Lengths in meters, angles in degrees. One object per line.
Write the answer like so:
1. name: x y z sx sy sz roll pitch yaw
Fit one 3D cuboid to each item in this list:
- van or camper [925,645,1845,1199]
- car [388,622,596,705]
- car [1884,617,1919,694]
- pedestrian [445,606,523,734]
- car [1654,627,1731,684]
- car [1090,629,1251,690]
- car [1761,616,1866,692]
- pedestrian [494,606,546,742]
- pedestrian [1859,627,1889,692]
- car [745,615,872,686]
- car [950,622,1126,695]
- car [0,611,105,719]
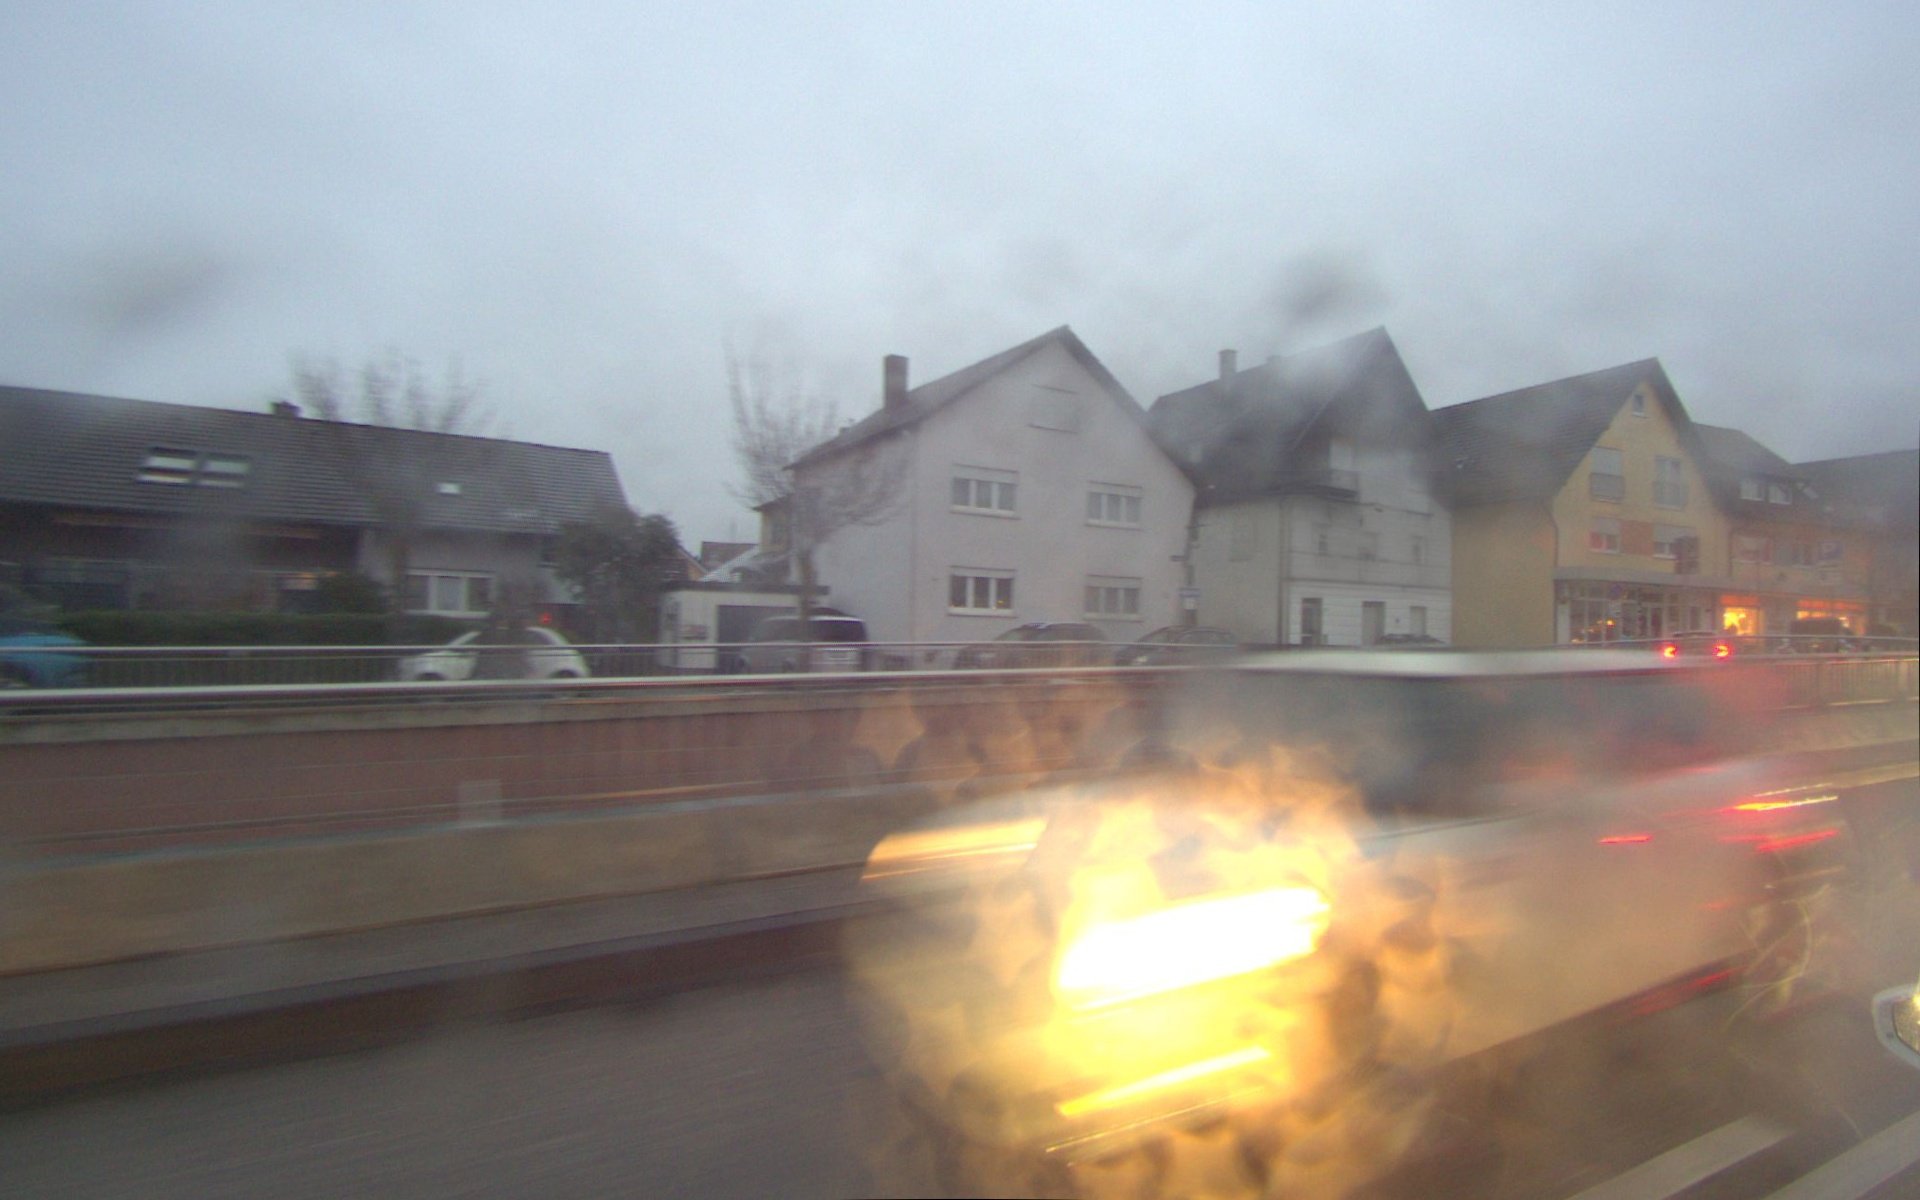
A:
1. van or camper: 1.711 0.869 3.855 3.382 1.373 1.555 1 -2 -30
2. car: -8.877 1.180 19.110 3.421 1.446 1.474 2 -2 -32
3. car: 25.866 1.429 26.346 2.012 1.951 4.041 -1 -2 38
4. pedestrian: -7.081 1.013 14.916 0.961 1.808 0.924 1 0 -29
5. car: 22.484 1.642 30.790 1.799 1.634 4.041 -1 -2 37
6. car: 5.846 1.597 27.808 4.165 1.583 1.903 1 -2 -29
7. car: 23.868 1.454 28.234 2.012 1.951 4.041 -1 -2 38
8. pedestrian: -5.780 0.949 13.180 0.535 1.720 0.660 1 0 -29
9. pedestrian: 24.765 1.600 27.225 0.489 1.723 0.710 -2 -3 38
10. car: -4.060 1.308 26.468 1.844 1.716 3.964 1 -3 -33
11. car: 2.013 1.437 25.575 4.170 1.705 1.900 1 -2 -32
12. car: -15.373 0.963 14.993 3.785 1.601 1.554 3 -4 -36
